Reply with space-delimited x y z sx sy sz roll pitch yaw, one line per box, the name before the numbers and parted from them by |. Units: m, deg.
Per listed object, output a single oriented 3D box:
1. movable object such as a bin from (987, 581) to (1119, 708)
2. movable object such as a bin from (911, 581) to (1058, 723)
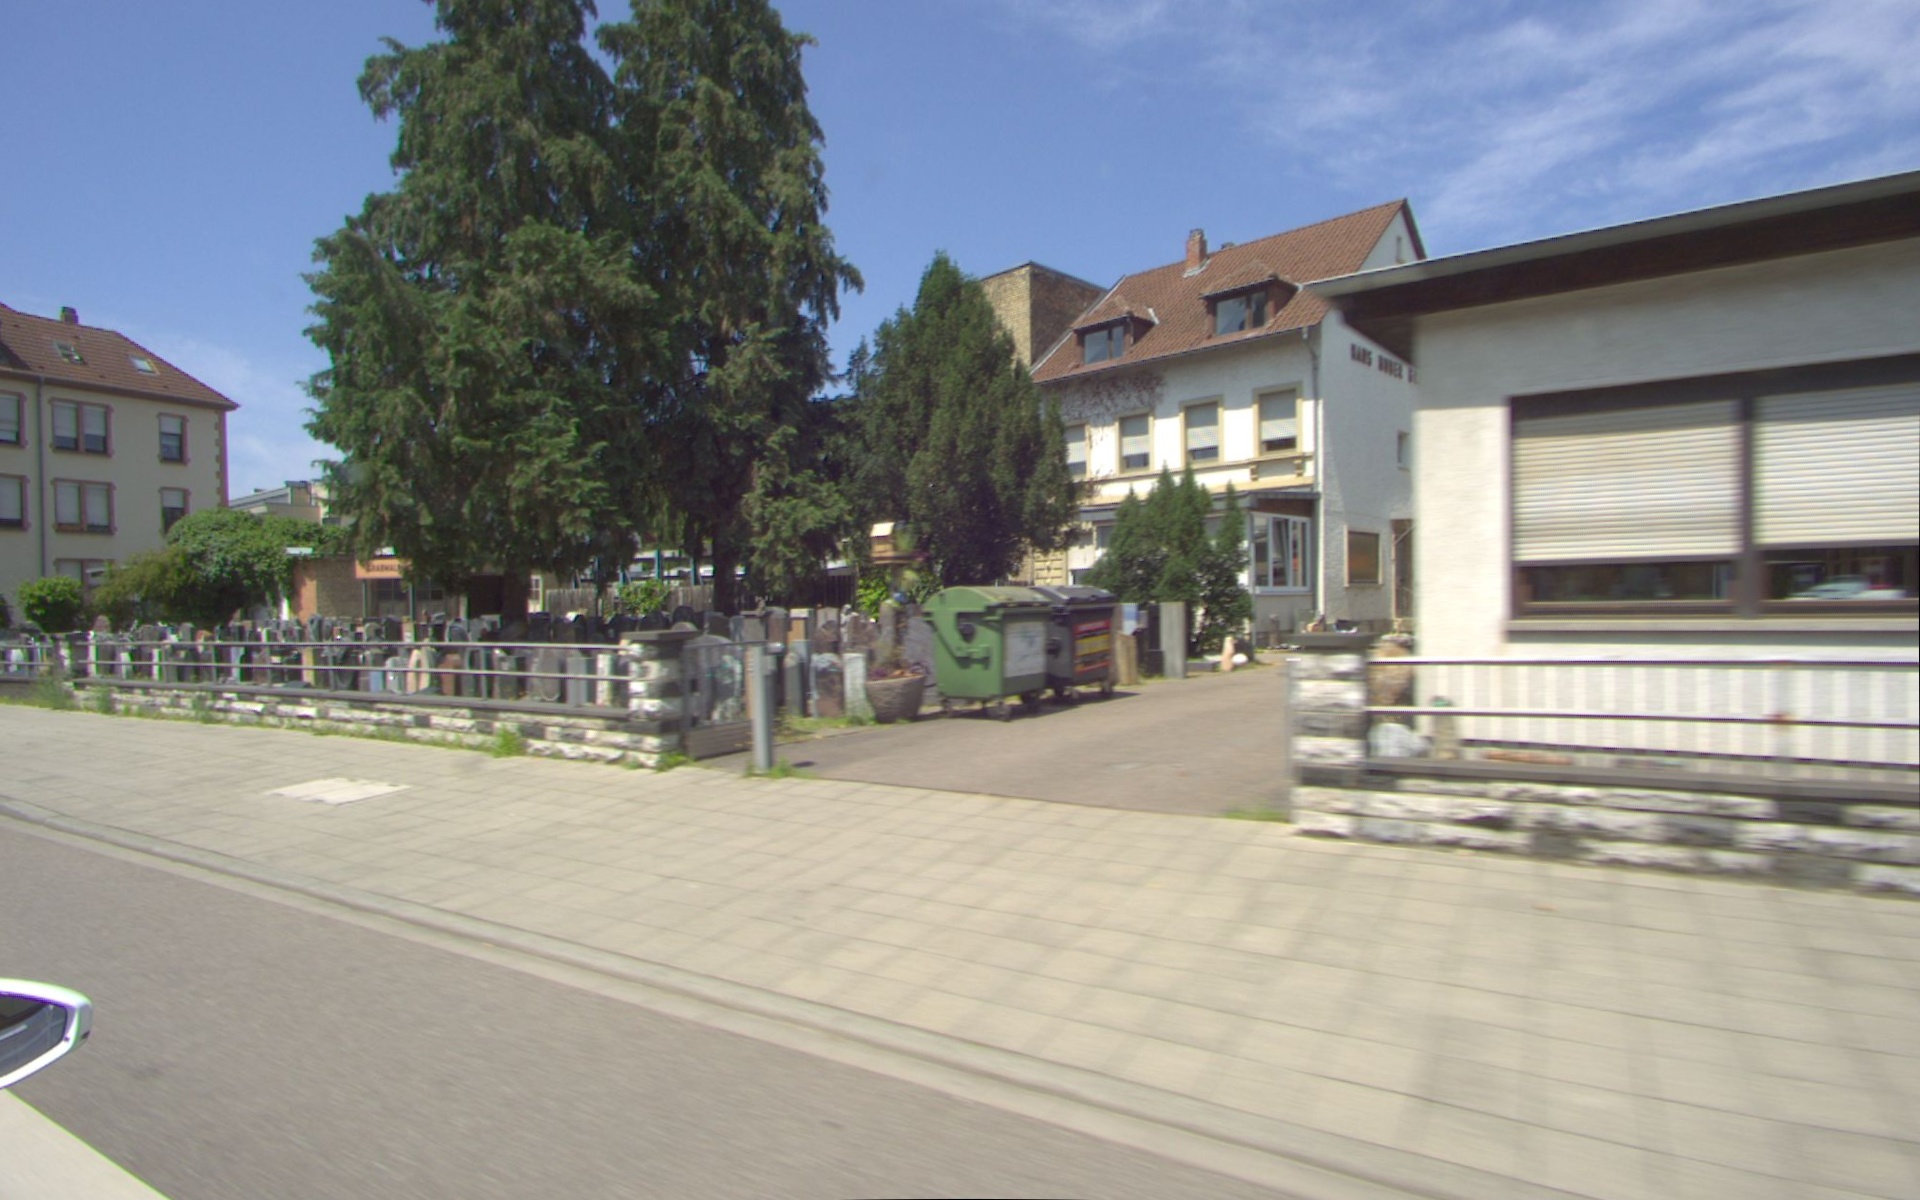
movable object such as a bin | 1.201 0.534 12.722 1.136 1.501 1.383 0 0 35
movable object such as a bin | 0.303 0.551 11.420 1.135 1.501 1.384 0 0 32
